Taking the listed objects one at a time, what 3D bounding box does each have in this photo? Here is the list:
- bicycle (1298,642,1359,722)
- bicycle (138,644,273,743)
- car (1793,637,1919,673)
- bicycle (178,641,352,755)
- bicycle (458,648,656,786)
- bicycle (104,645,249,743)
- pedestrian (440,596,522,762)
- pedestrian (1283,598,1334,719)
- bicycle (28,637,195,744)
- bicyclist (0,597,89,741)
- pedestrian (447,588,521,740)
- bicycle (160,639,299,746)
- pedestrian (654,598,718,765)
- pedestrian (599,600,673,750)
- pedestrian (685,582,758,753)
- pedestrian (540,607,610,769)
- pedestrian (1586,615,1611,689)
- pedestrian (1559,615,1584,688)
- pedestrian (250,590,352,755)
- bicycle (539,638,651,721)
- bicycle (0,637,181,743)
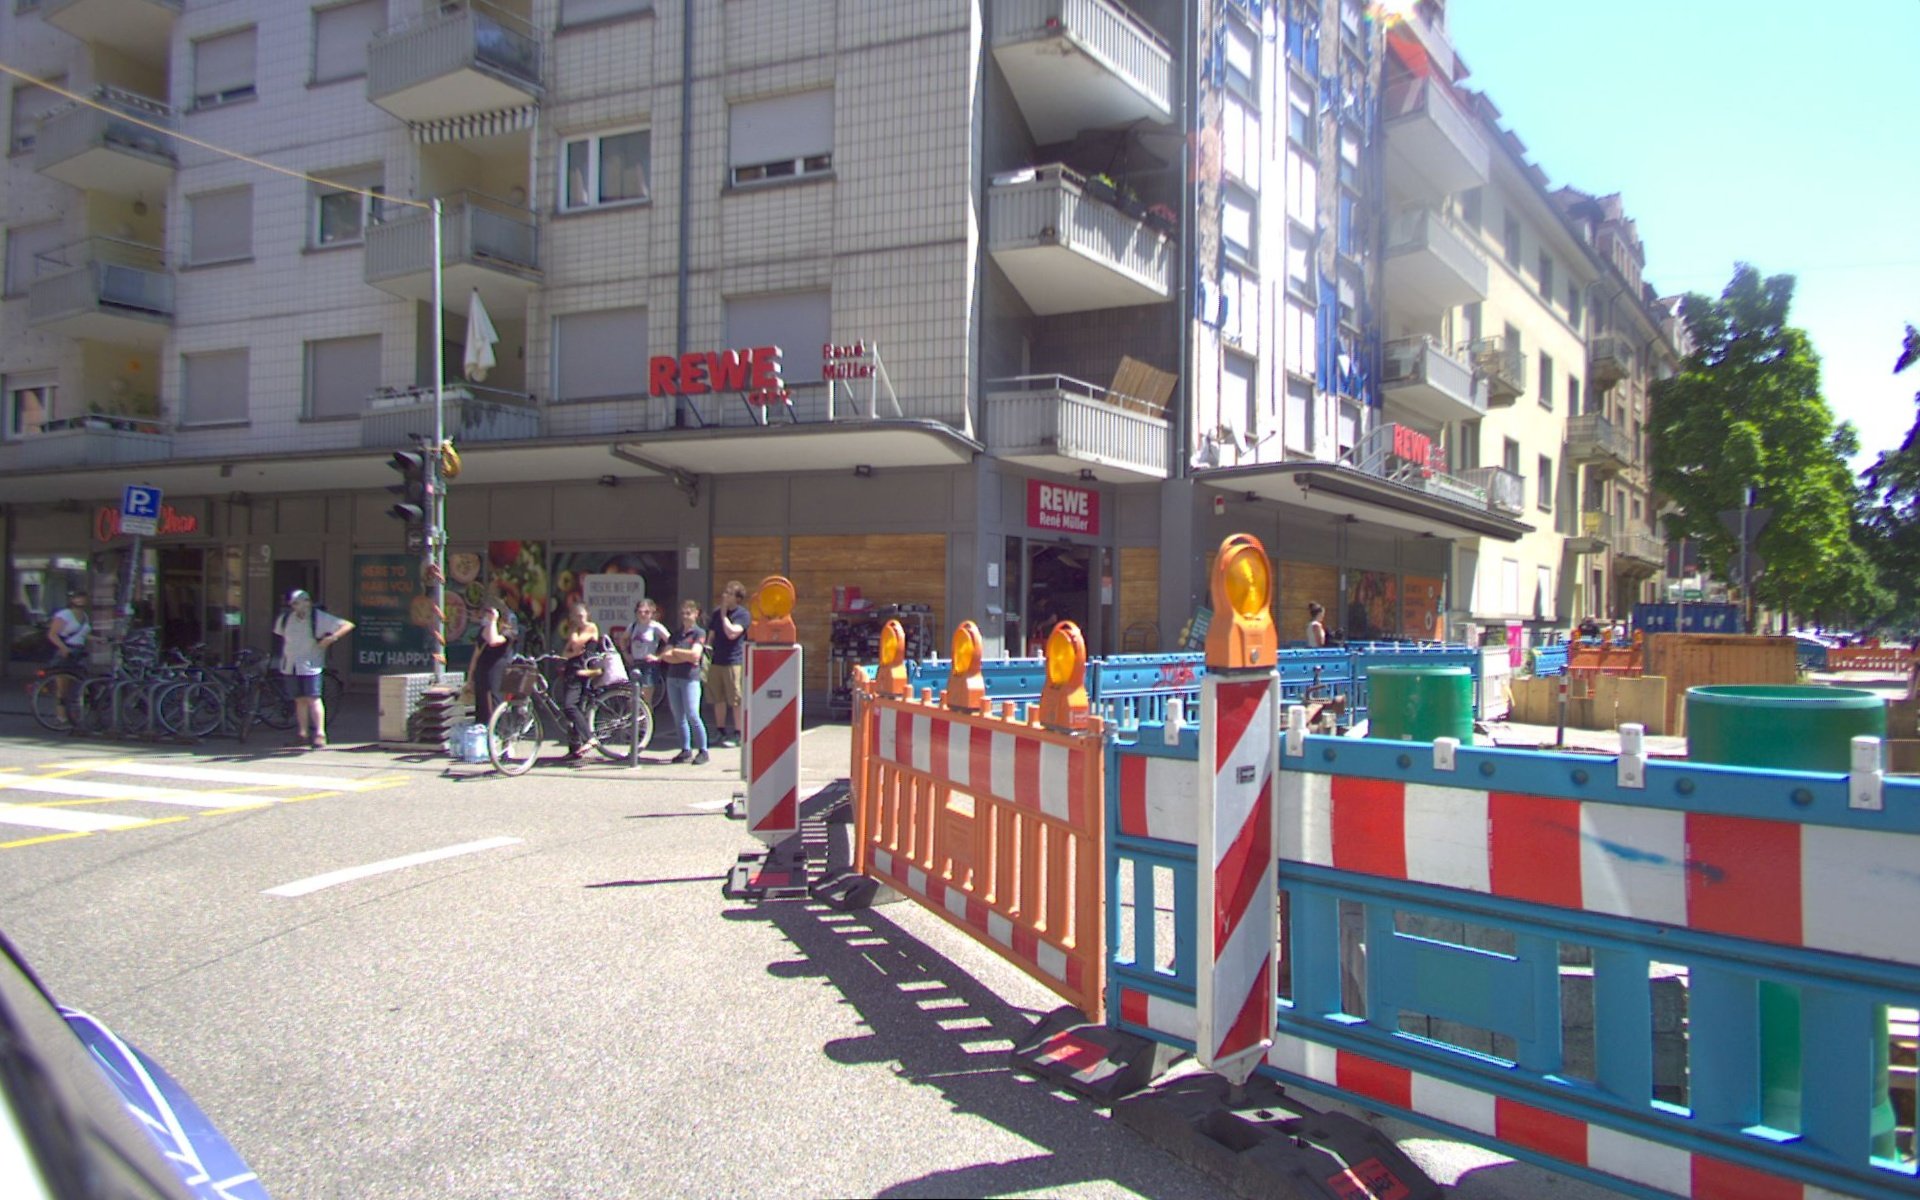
[{"bbox_3d":[5.423,1.181,14.960,0.338,1.080,1.574,1,-2,0],"label":"bicycle"},{"bbox_3d":[-9.176,1.111,12.371,0.332,1.043,1.446,0,1,13],"label":"bicycle"},{"bbox_3d":[35.523,2.145,39.941,4.000,1.273,1.604,-1,-2,43],"label":"car"},{"bbox_3d":[-8.088,1.100,11.878,0.572,1.131,1.797,0,1,11],"label":"bicycle"},{"bbox_3d":[-3.846,1.073,9.793,0.467,1.127,1.787,0,0,38],"label":"bicycle"},{"bbox_3d":[-9.609,1.127,12.474,0.394,1.038,1.492,0,1,13],"label":"bicycle"},{"bbox_3d":[-4.919,0.792,10.417,0.507,1.645,0.540,0,-1,15],"label":"pedestrian"},{"bbox_3d":[5.071,0.840,14.742,0.384,1.728,0.592,2,-2,-33],"label":"pedestrian"},{"bbox_3d":[-10.360,1.068,12.429,0.521,1.148,1.582,0,1,13],"label":"bicycle"},{"bbox_3d":[-11.526,0.828,12.582,0.970,1.719,0.622,-1,0,17],"label":"bicyclist"},{"bbox_3d":[-5.721,0.752,12.182,0.594,1.784,0.508,0,-1,15],"label":"pedestrian"},{"bbox_3d":[-8.797,1.082,12.256,0.332,1.125,1.518,0,1,13],"label":"bicycle"},{"bbox_3d":[-2.750,0.800,10.181,0.471,1.630,0.389,0,-1,15],"label":"pedestrian"},{"bbox_3d":[-3.645,0.827,11.407,0.594,1.645,0.508,0,-1,15],"label":"pedestrian"},{"bbox_3d":[-2.630,0.726,11.192,0.594,1.834,0.508,0,-1,15],"label":"pedestrian"},{"bbox_3d":[-3.877,0.860,10.200,0.459,1.577,0.490,-1,0,44],"label":"pedestrian"},{"bbox_3d":[17.744,1.439,28.144,0.505,2.029,0.440,-1,-2,42],"label":"pedestrian"},{"bbox_3d":[17.228,1.451,28.515,0.545,2.029,0.407,-1,-2,42],"label":"pedestrian"},{"bbox_3d":[-7.234,0.775,11.125,0.627,1.740,0.655,0,-1,15],"label":"pedestrian"},{"bbox_3d":[-4.982,1.081,13.852,1.412,1.094,0.322,0,-1,-1],"label":"bicycle"},{"bbox_3d":[-10.979,1.082,12.724,0.598,1.100,1.933,-2,1,11],"label":"bicycle"}]
